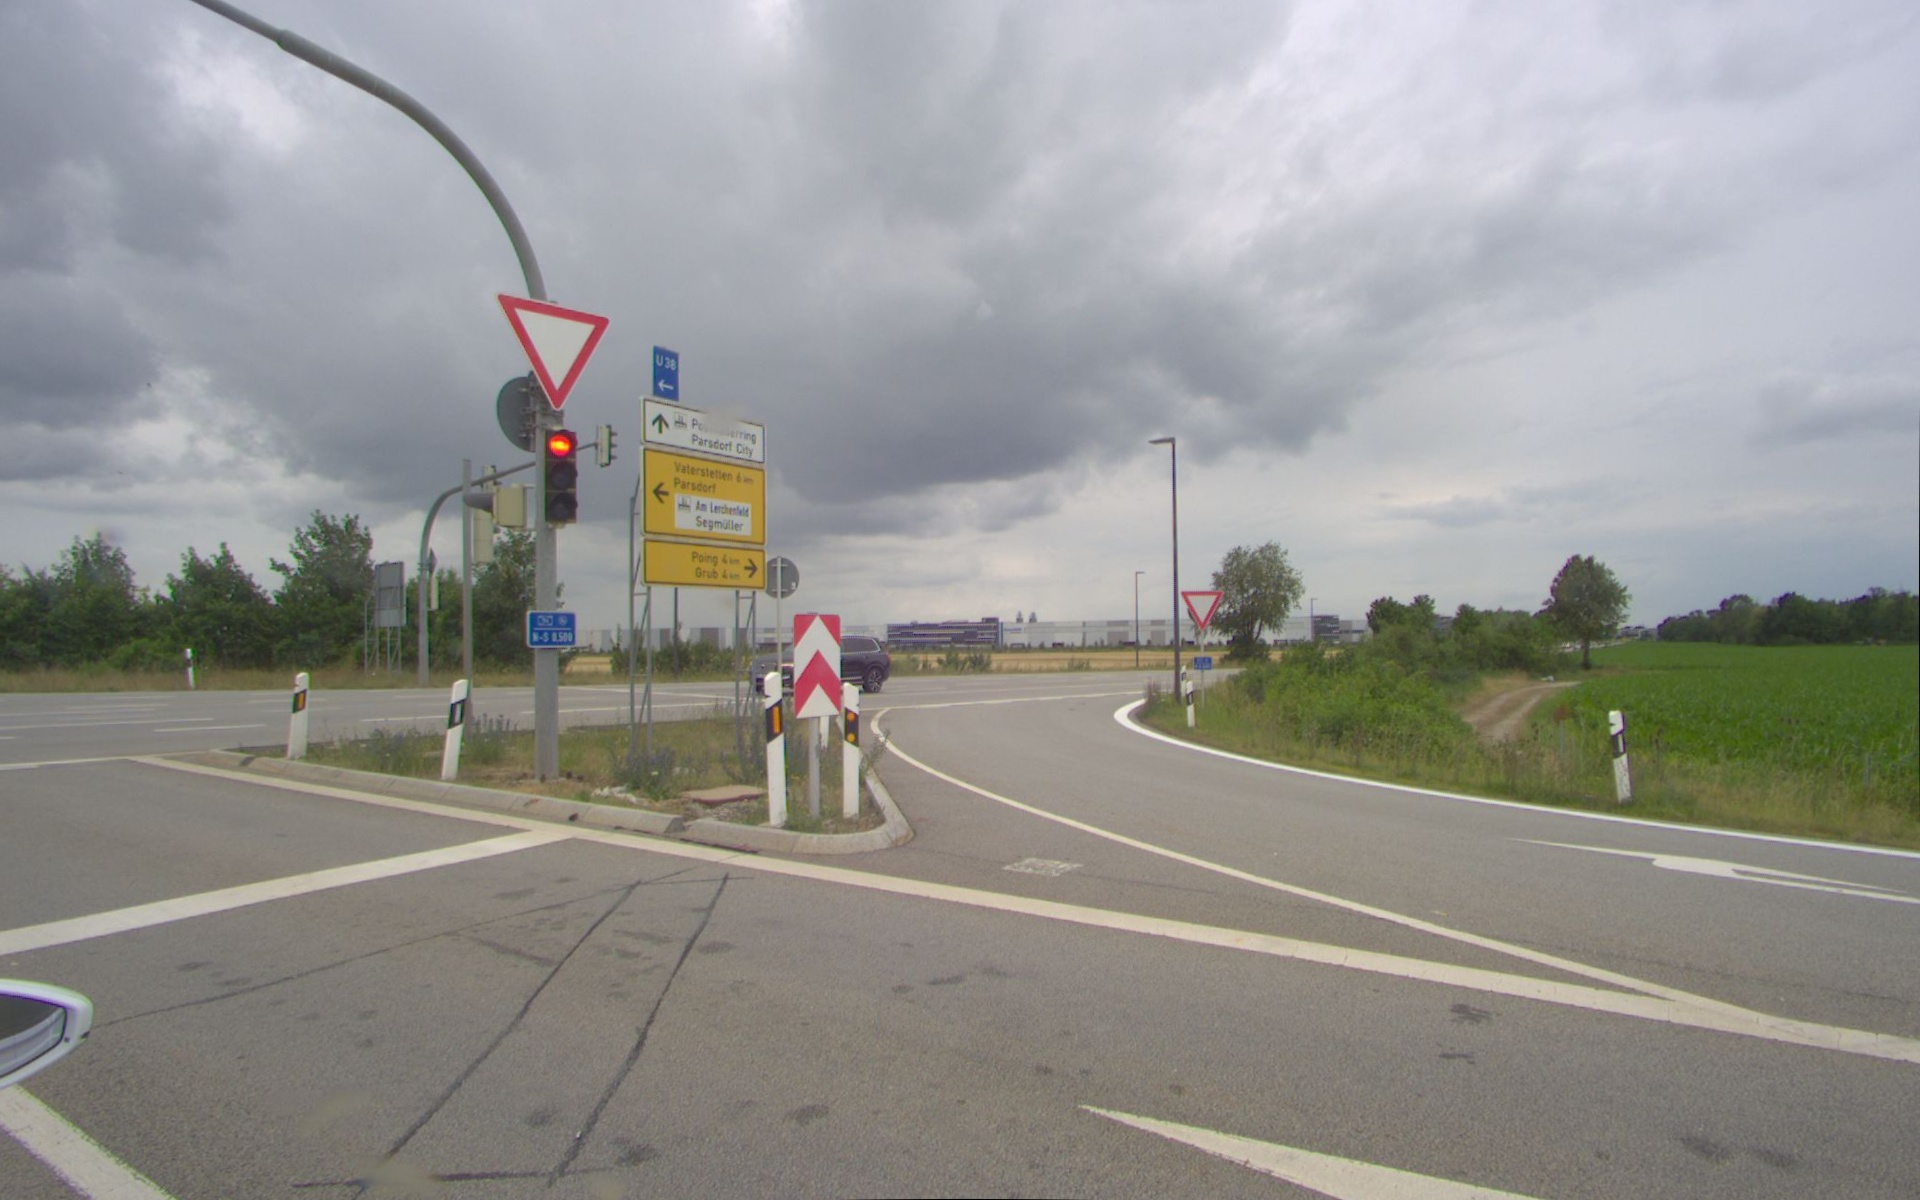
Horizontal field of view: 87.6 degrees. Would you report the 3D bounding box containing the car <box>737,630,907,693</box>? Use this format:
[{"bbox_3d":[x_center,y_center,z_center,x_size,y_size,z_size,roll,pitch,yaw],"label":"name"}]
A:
[{"bbox_3d":[-3.992,1.813,29.767,1.977,1.705,4.961,-2,-3,41],"label":"car"}]
